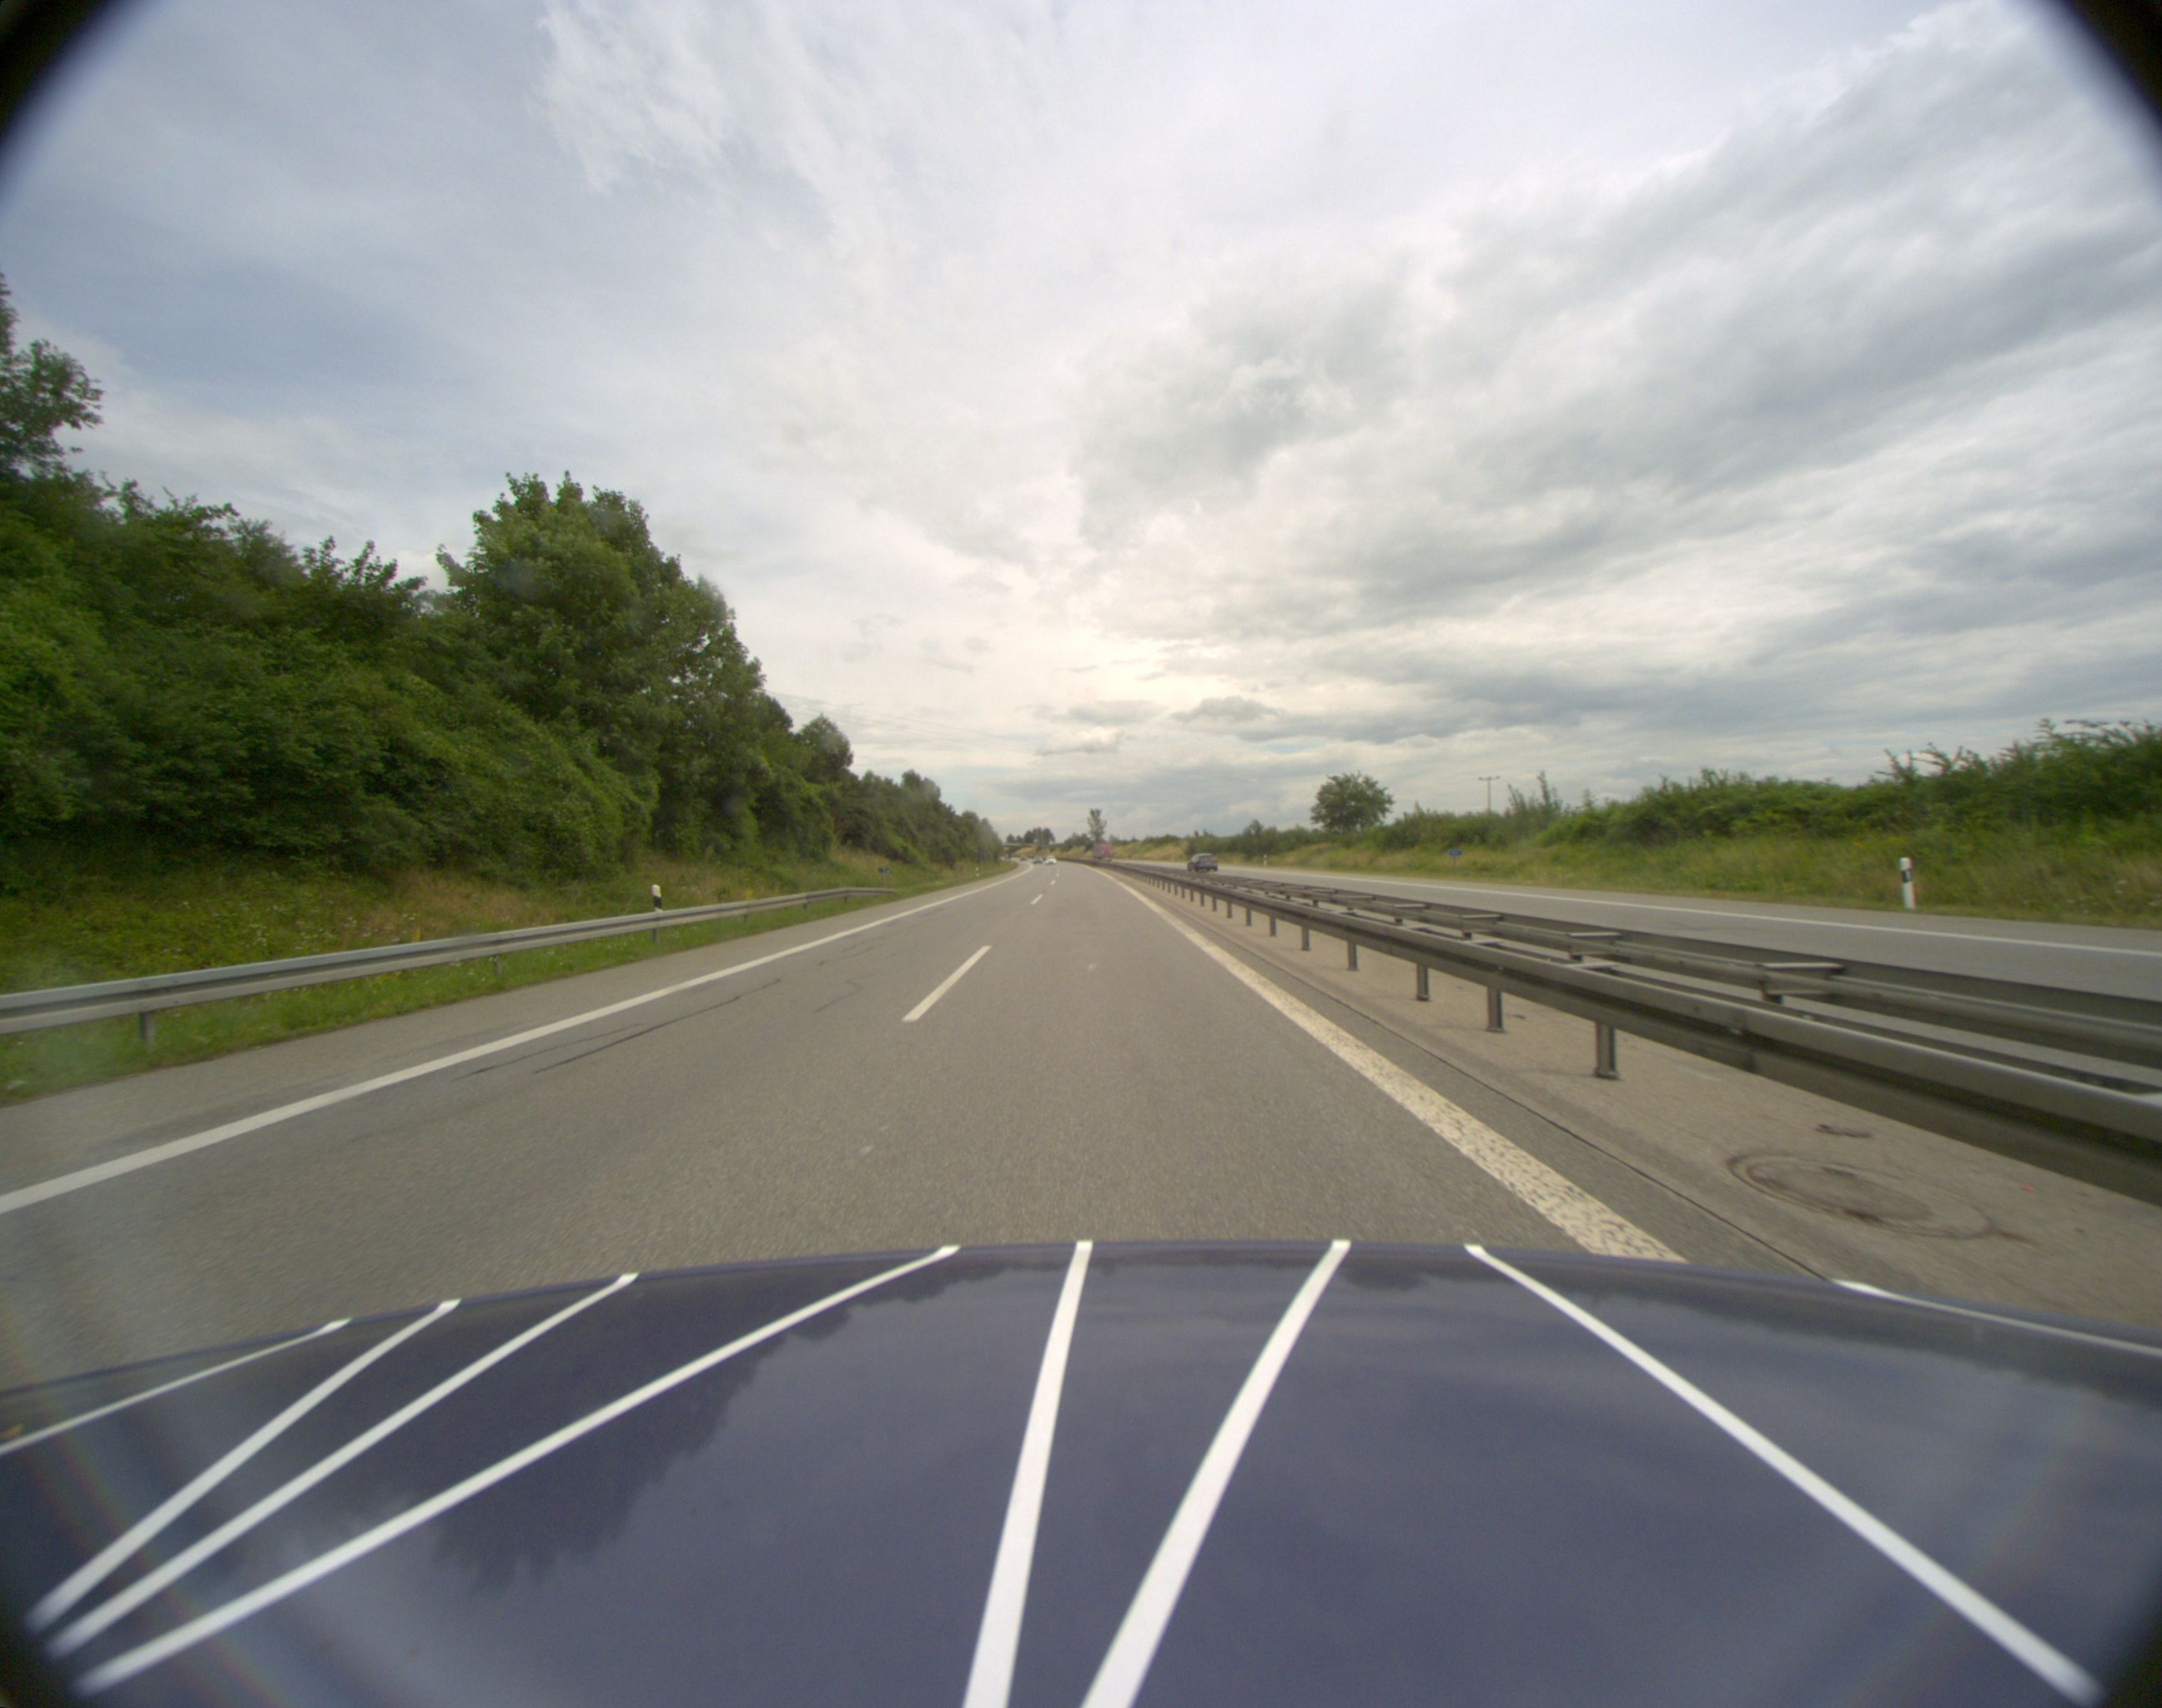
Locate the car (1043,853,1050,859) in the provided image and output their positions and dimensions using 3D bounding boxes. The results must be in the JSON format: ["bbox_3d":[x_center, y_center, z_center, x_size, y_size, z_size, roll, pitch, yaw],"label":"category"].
[{"bbox_3d":[-9.267,0.555,203.732,1.776,1.474,4.694,-2,0,-6],"label":"car"}]

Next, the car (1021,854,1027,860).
[{"bbox_3d":[-16.722,0.906,223.130,1.510,1.474,4.035,-2,1,-9],"label":"car"}]

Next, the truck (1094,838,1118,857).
[{"bbox_3d":[5.541,-1.464,170.689,3.340,4.146,13.670,-3,1,-6],"label":"truck"}]

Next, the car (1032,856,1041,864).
[{"bbox_3d":[-9.376,1.274,158.510,1.650,1.686,4.734,-2,1,-5],"label":"car"}]

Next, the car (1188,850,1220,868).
[{"bbox_3d":[9.863,0.380,61.303,1.710,1.345,4.938,-3,0,-1],"label":"car"}]

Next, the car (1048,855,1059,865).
[{"bbox_3d":[-4.880,1.052,134.723,1.776,1.813,4.164,-1,0,-4],"label":"car"}]
